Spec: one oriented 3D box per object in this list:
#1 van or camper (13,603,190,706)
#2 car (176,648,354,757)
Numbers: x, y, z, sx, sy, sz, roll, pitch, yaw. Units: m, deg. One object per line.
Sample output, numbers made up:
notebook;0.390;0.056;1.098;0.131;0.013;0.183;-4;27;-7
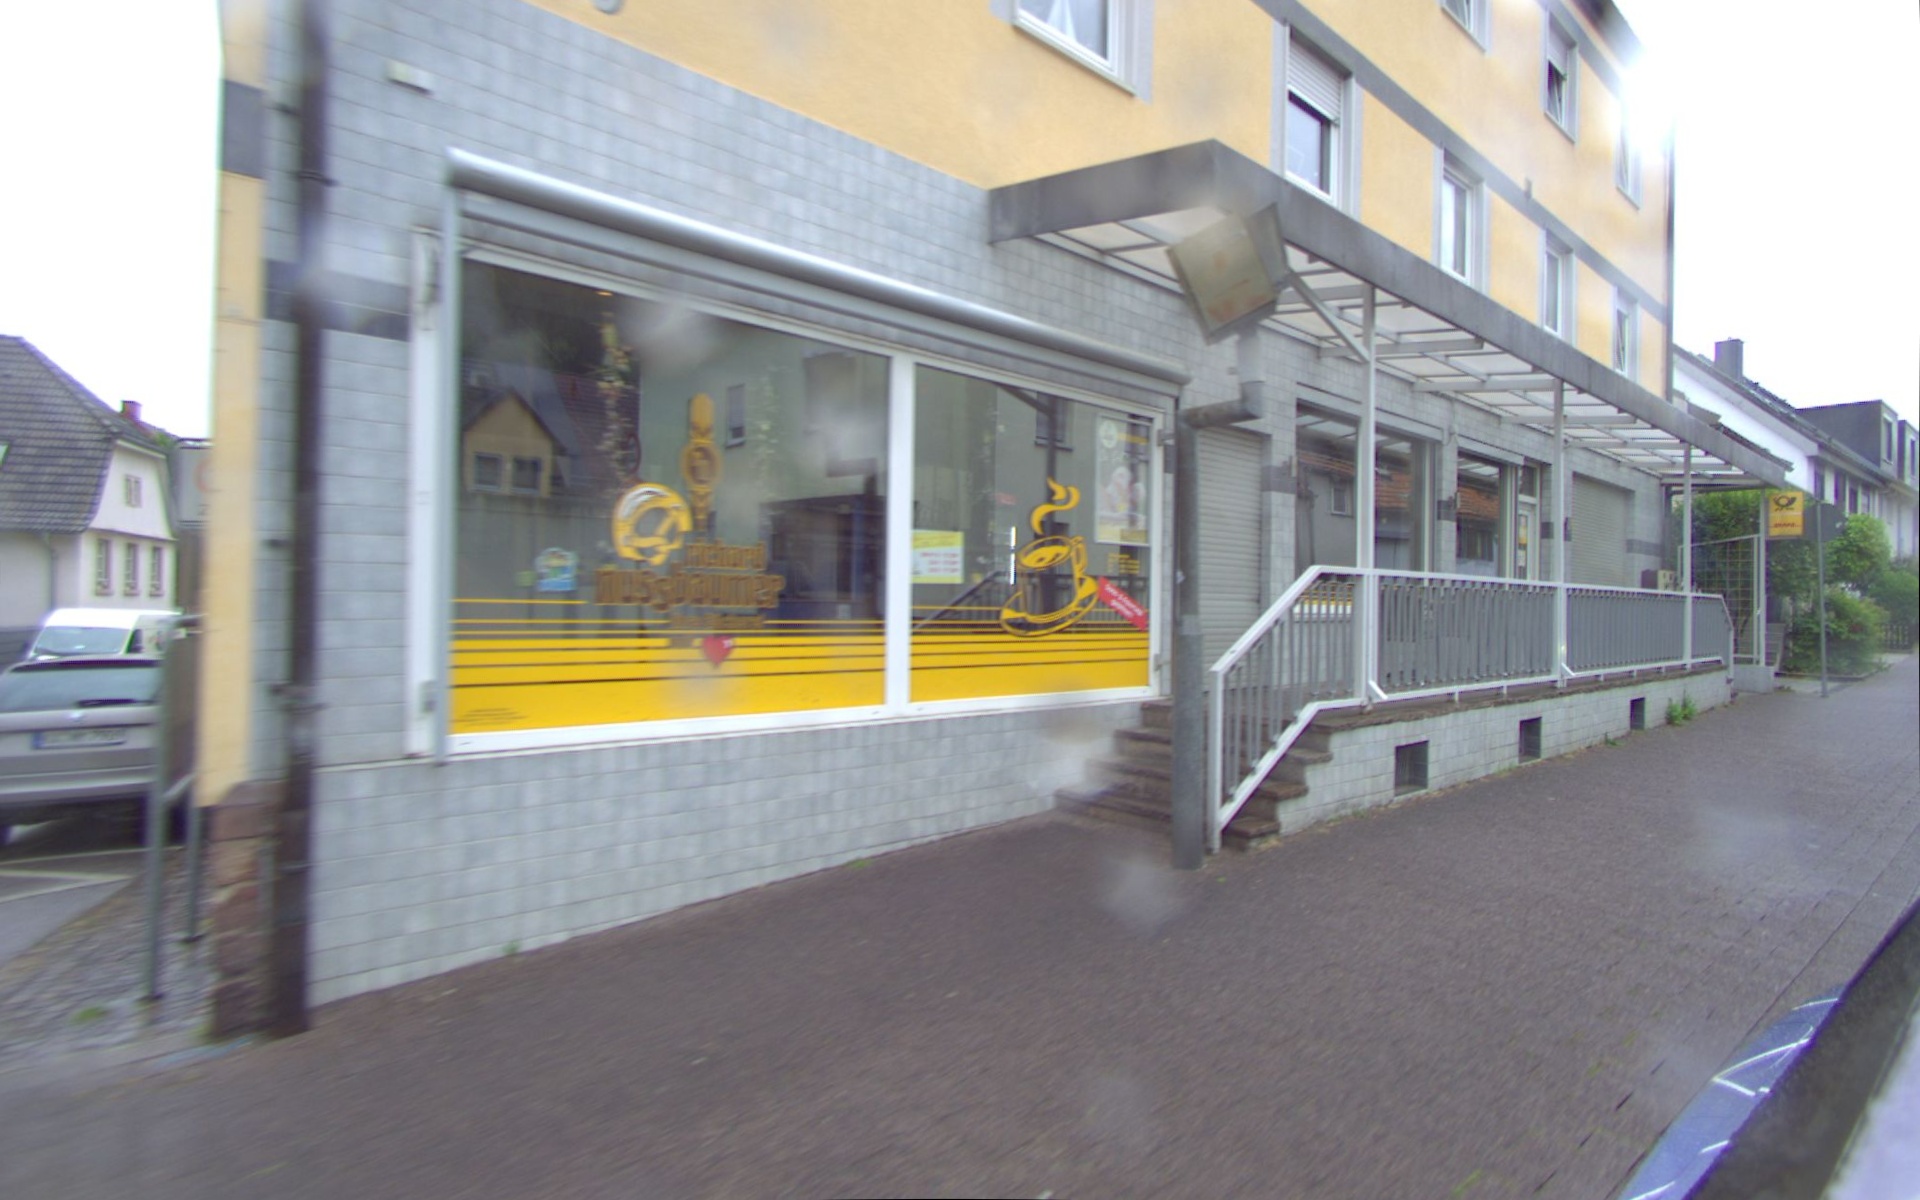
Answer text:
van or camper;-23.237;1.437;27.733;2.043;2.512;5.905;2;-3;-24
car;-11.539;1.604;17.078;1.815;1.479;4.025;-2;-1;-25
